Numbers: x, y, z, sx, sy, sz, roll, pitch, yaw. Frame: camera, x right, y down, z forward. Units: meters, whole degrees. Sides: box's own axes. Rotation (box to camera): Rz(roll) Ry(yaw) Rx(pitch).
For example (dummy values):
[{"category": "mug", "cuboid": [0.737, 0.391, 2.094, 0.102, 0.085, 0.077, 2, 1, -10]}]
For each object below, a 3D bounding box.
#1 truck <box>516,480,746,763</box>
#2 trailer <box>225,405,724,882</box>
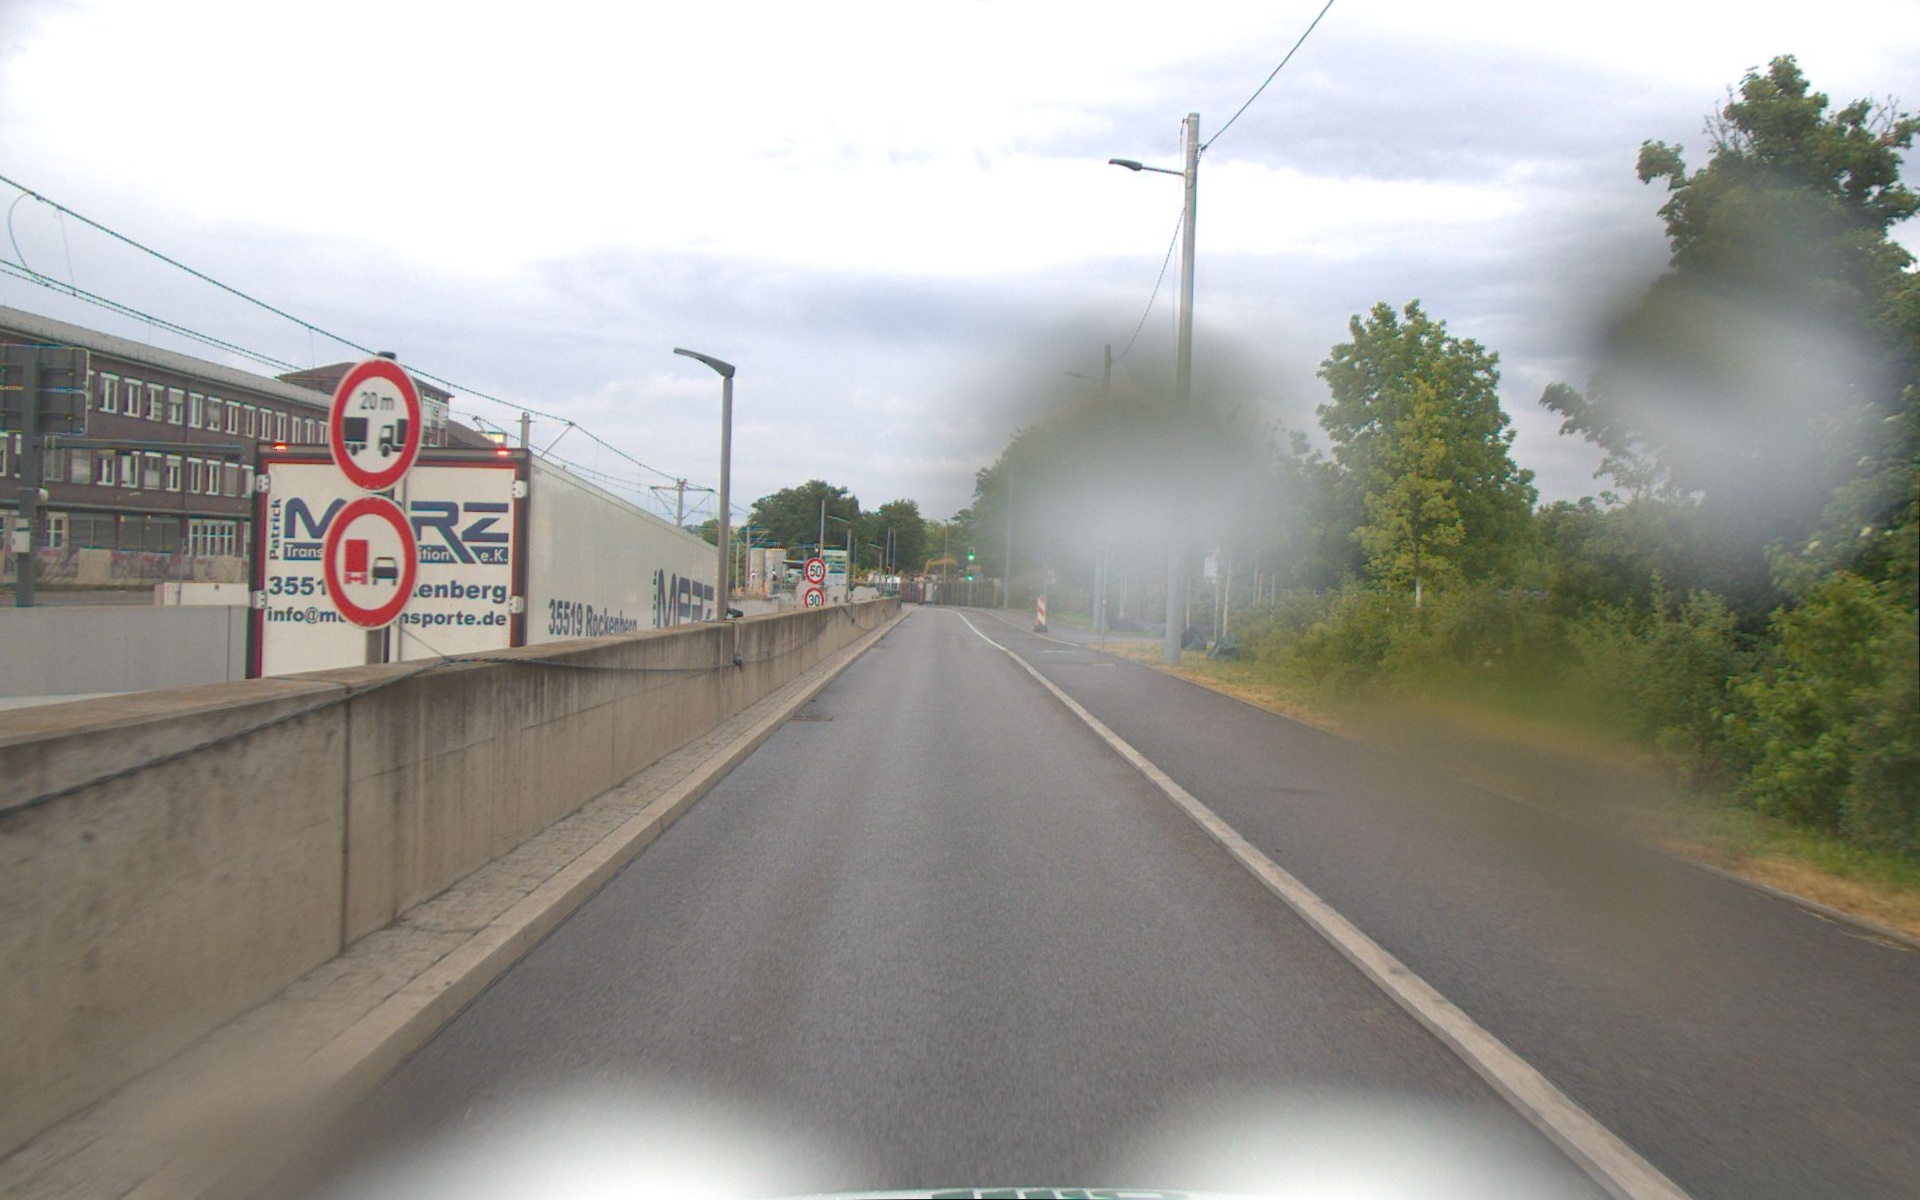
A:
[{"category": "truck", "cuboid": [-5.402, 0.300, 28.262, 2.700, 4.278, 6.306, 0, 0, -1]}, {"category": "trailer", "cuboid": [-5.367, 0.354, 21.667, 2.706, 4.327, 13.182, 0, 0, 0]}]
